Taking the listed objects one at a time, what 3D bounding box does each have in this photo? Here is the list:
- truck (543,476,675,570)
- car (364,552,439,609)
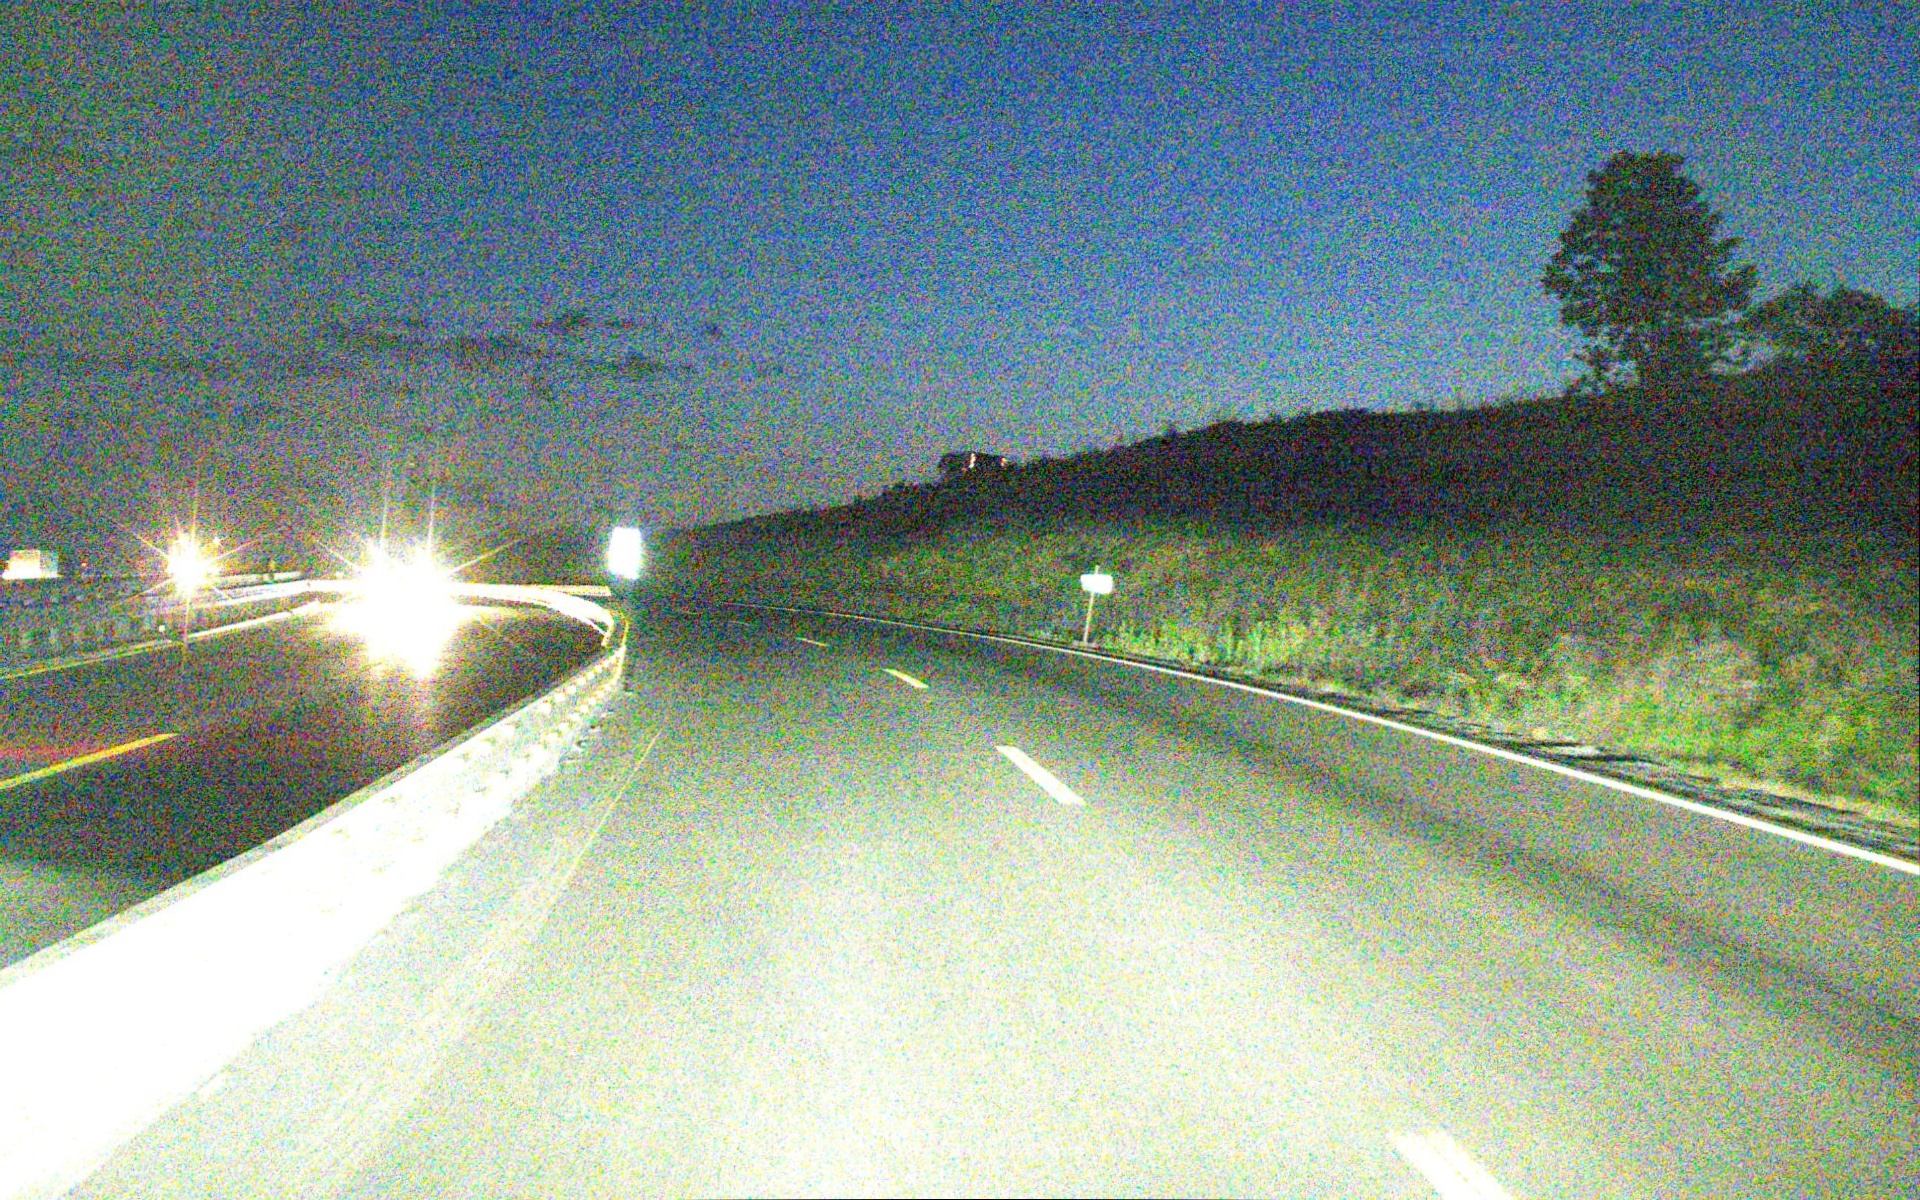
[{"bbox_3d":[-18.371,-3.934,178.956,4.010,4.536,13.958,-1,0,-17],"label":"truck"},{"bbox_3d":[-16.839,-0.594,103.584,1.993,1.634,4.001,-1,0,-12],"label":"car"}]
